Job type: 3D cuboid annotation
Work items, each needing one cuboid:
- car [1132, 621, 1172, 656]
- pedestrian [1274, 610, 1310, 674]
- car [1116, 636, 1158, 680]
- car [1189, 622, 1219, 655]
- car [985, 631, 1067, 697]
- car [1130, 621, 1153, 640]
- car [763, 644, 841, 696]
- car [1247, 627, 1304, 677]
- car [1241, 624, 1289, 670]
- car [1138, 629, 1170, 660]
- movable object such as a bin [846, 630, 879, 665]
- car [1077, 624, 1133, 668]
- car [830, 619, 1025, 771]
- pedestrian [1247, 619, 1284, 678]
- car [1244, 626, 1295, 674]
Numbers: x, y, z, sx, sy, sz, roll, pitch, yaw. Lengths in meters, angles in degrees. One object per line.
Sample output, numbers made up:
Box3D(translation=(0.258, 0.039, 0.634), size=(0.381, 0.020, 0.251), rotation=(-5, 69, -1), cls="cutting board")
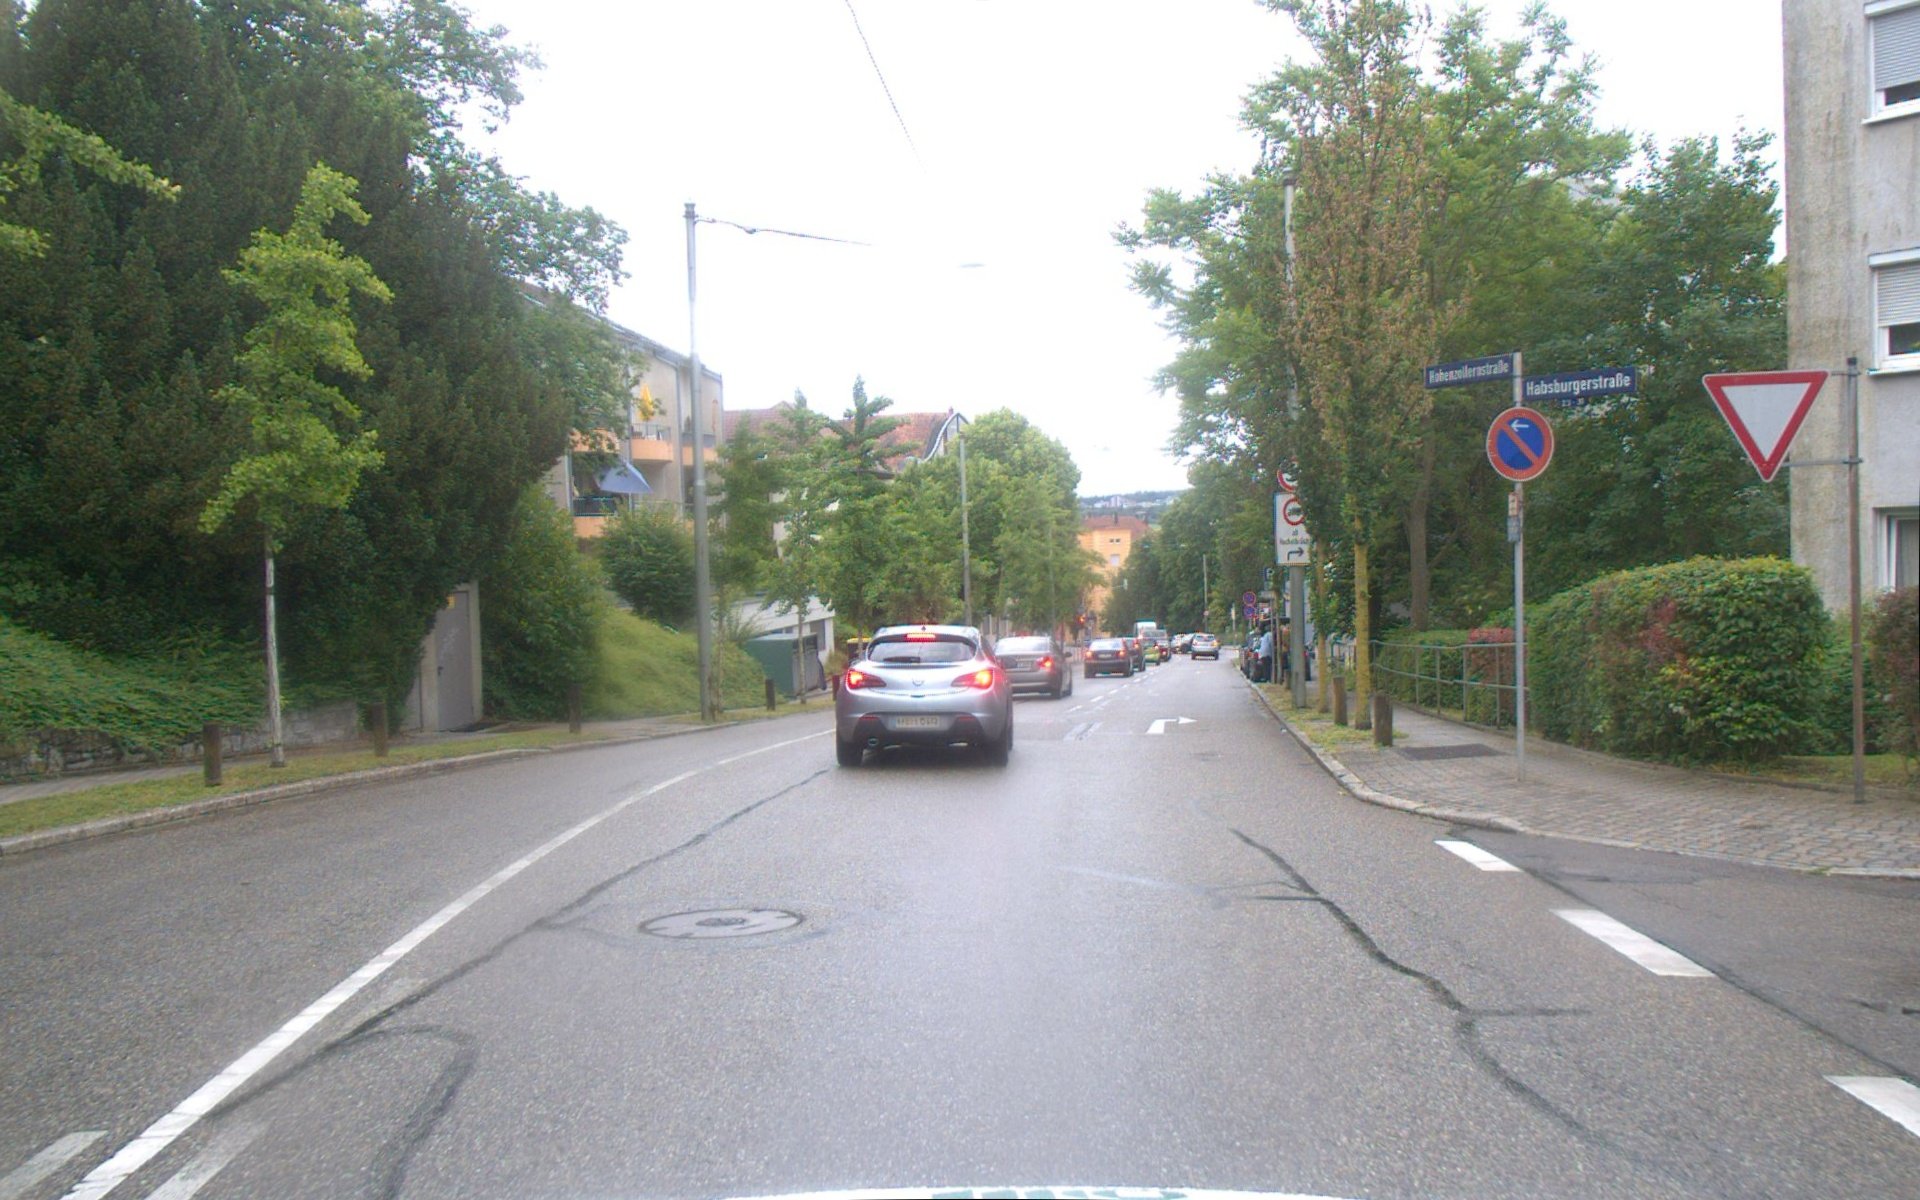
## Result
Box3D(translation=(12.172, 2.415, 104.573), size=(2.284, 2.072, 4.739), rotation=(1, 0, 9), cls="car")
Box3D(translation=(10.136, 1.283, 50.481), size=(0.677, 1.868, 0.661), rotation=(-5, -2, 45), cls="pedestrian")
Box3D(translation=(7.843, 2.530, 73.115), size=(1.731, 1.812, 3.979), rotation=(1, 0, 7), cls="car")
Box3D(translation=(16.661, 2.606, 112.620), size=(1.951, 2.072, 4.739), rotation=(1, 0, 9), cls="car")
Box3D(translation=(1.557, 1.423, 37.777), size=(1.760, 1.346, 4.002), rotation=(-1, 0, 4), cls="car")
Box3D(translation=(17.363, 2.901, 158.102), size=(1.951, 1.816, 4.003), rotation=(1, 0, 10), cls="car")
Box3D(translation=(-5.199, 2.286, 54.888), size=(1.705, 1.481, 3.886), rotation=(-6, -2, 6), cls="car")
Box3D(translation=(10.065, 1.646, 52.931), size=(1.472, 1.460, 4.003), rotation=(-3, -2, 7), cls="car")
Box3D(translation=(11.631, 1.769, 63.268), size=(1.650, 1.598, 4.003), rotation=(-3, -1, 10), cls="car")
Box3D(translation=(11.035, 2.528, 93.901), size=(1.717, 1.680, 4.003), rotation=(1, -1, 7), cls="car")
Box3D(translation=(-3.984, 1.941, 67.589), size=(1.245, 1.411, 0.489), rotation=(-1, -1, 7), cls="movable object such as a bin")
Box3D(translation=(5.430, 1.685, 61.690), size=(1.919, 1.498, 3.954), rotation=(1, 0, 7), cls="car")
Box3D(translation=(-0.263, 0.993, 18.470), size=(1.905, 1.457, 3.884), rotation=(-2, -1, 2), cls="car")
Box3D(translation=(9.380, 1.483, 50.750), size=(0.723, 1.753, 0.762), rotation=(-4, -1, -17), cls="pedestrian")
Box3D(translation=(10.926, 1.750, 58.627), size=(1.645, 1.489, 4.003), rotation=(-3, -1, 10), cls="car")
